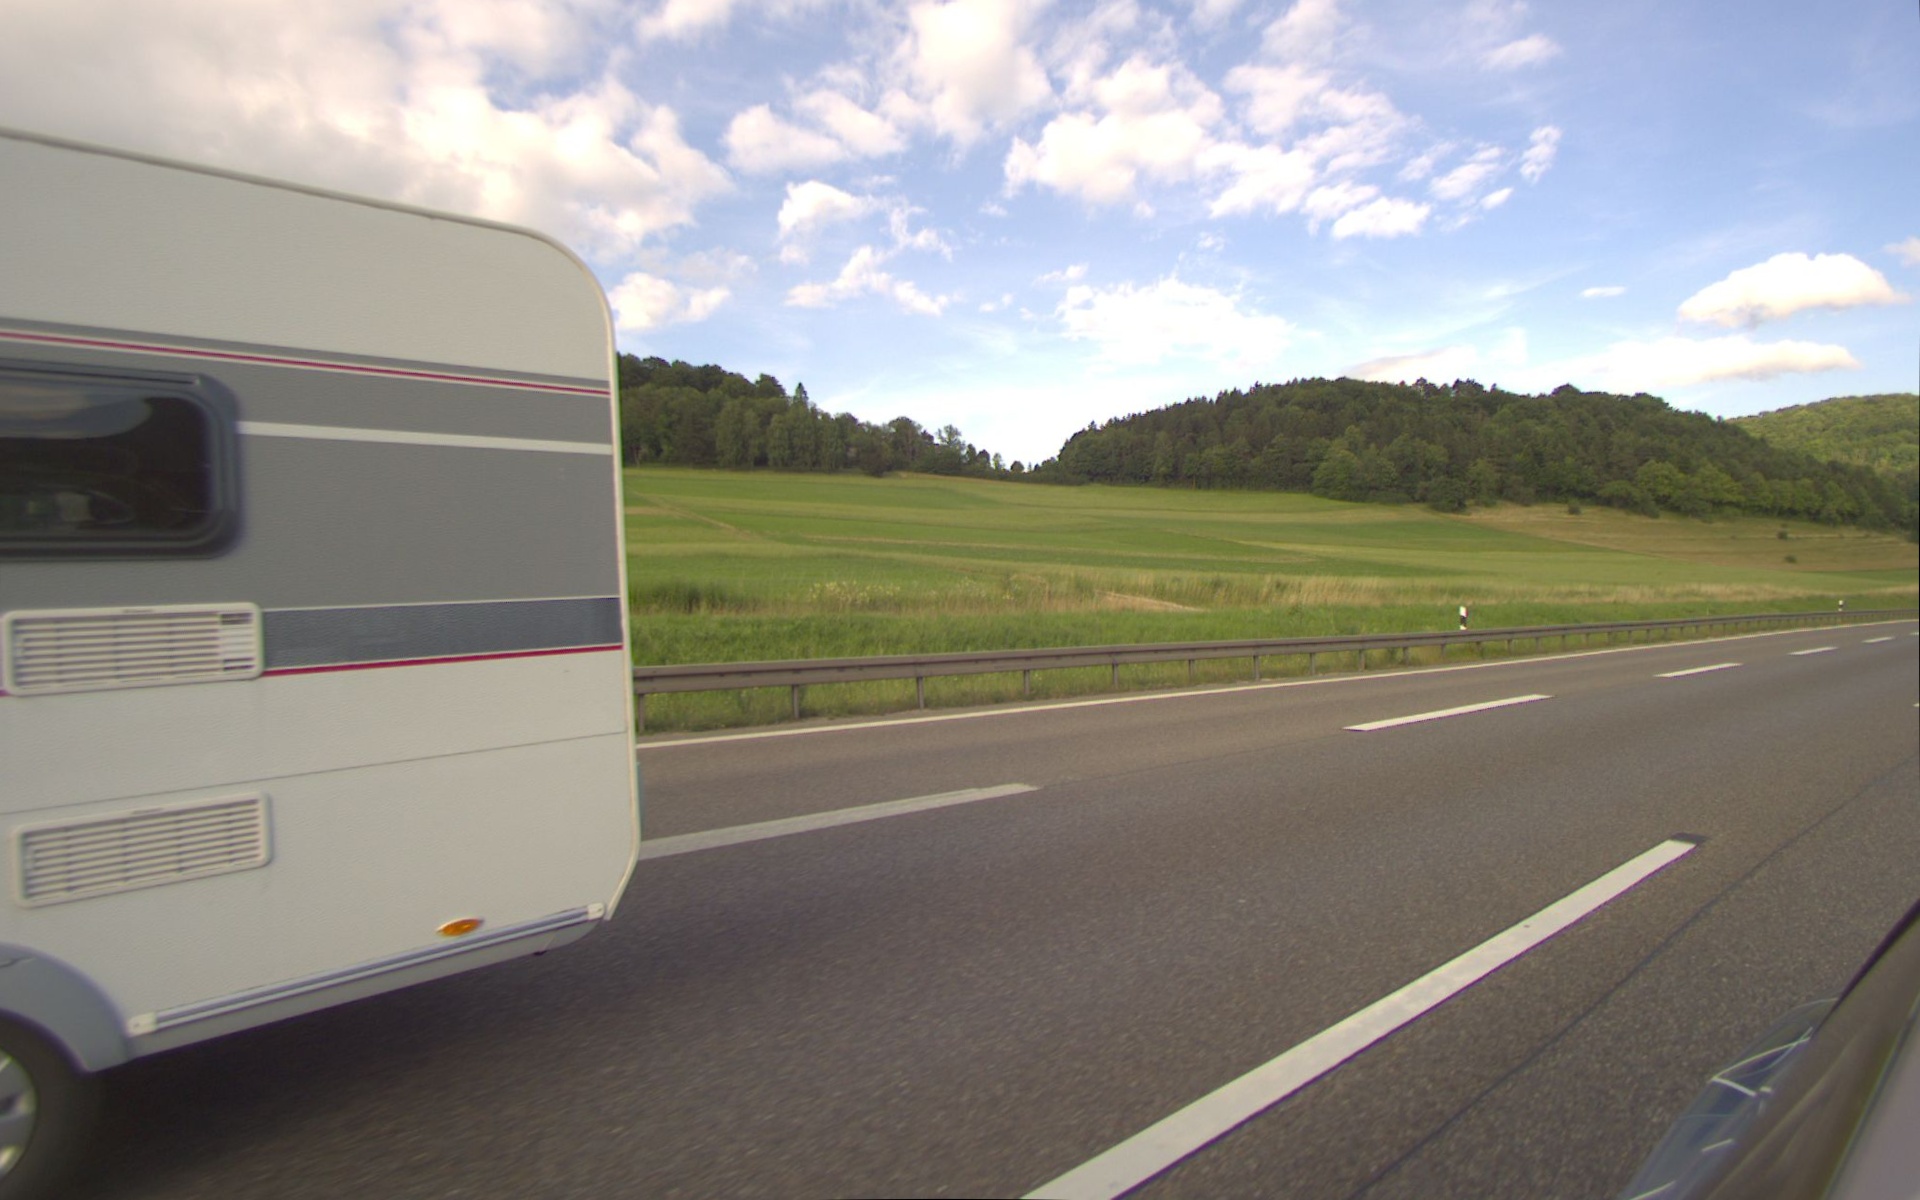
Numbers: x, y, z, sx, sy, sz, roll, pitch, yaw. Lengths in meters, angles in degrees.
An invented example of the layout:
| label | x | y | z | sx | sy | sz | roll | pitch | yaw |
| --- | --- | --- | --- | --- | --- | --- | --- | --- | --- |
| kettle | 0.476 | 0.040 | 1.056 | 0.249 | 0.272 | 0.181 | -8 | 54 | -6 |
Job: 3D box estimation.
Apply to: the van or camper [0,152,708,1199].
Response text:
| label | x | y | z | sx | sy | sz | roll | pitch | yaw |
| --- | --- | --- | --- | --- | --- | --- | --- | --- | --- |
| van or camper | -3.543 | 0.257 | 2.244 | 5.233 | 2.268 | 2.553 | 0 | 0 | -39 |
